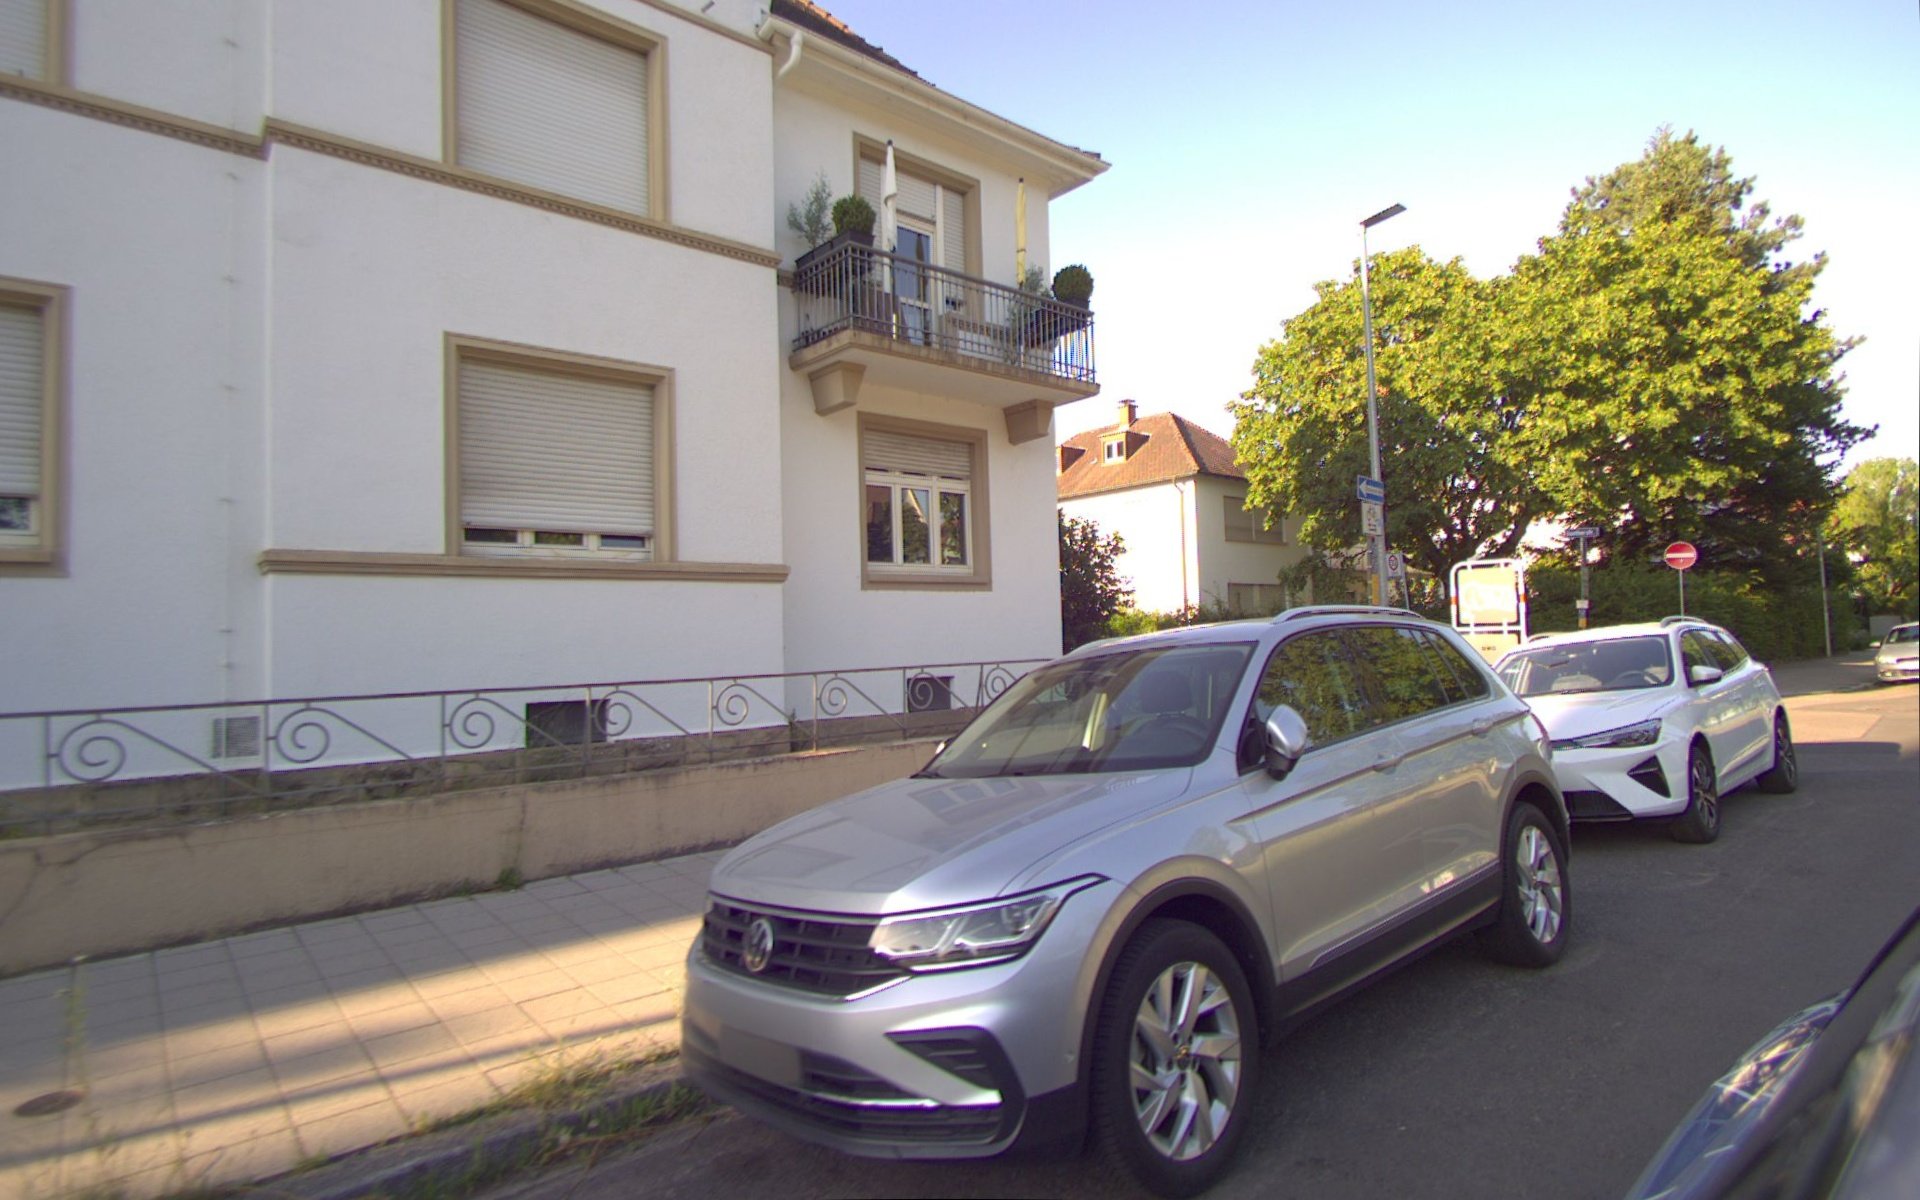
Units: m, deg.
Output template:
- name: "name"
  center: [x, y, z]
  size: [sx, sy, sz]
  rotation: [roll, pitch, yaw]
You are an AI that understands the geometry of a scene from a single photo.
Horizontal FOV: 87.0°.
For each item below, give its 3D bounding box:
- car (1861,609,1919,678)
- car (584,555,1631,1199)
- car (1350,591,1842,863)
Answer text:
- name: "car"
  center: [22.559, 0.889, 23.218]
  size: [4.059, 1.423, 2.108]
  rotation: [0, -9, -40]
- name: "car"
  center: [1.027, 0.807, 4.302]
  size: [4.507, 1.670, 1.802]
  rotation: [-2, -7, -42]
- name: "car"
  center: [5.316, 0.877, 8.216]
  size: [4.508, 1.554, 1.878]
  rotation: [-2, -8, -40]
